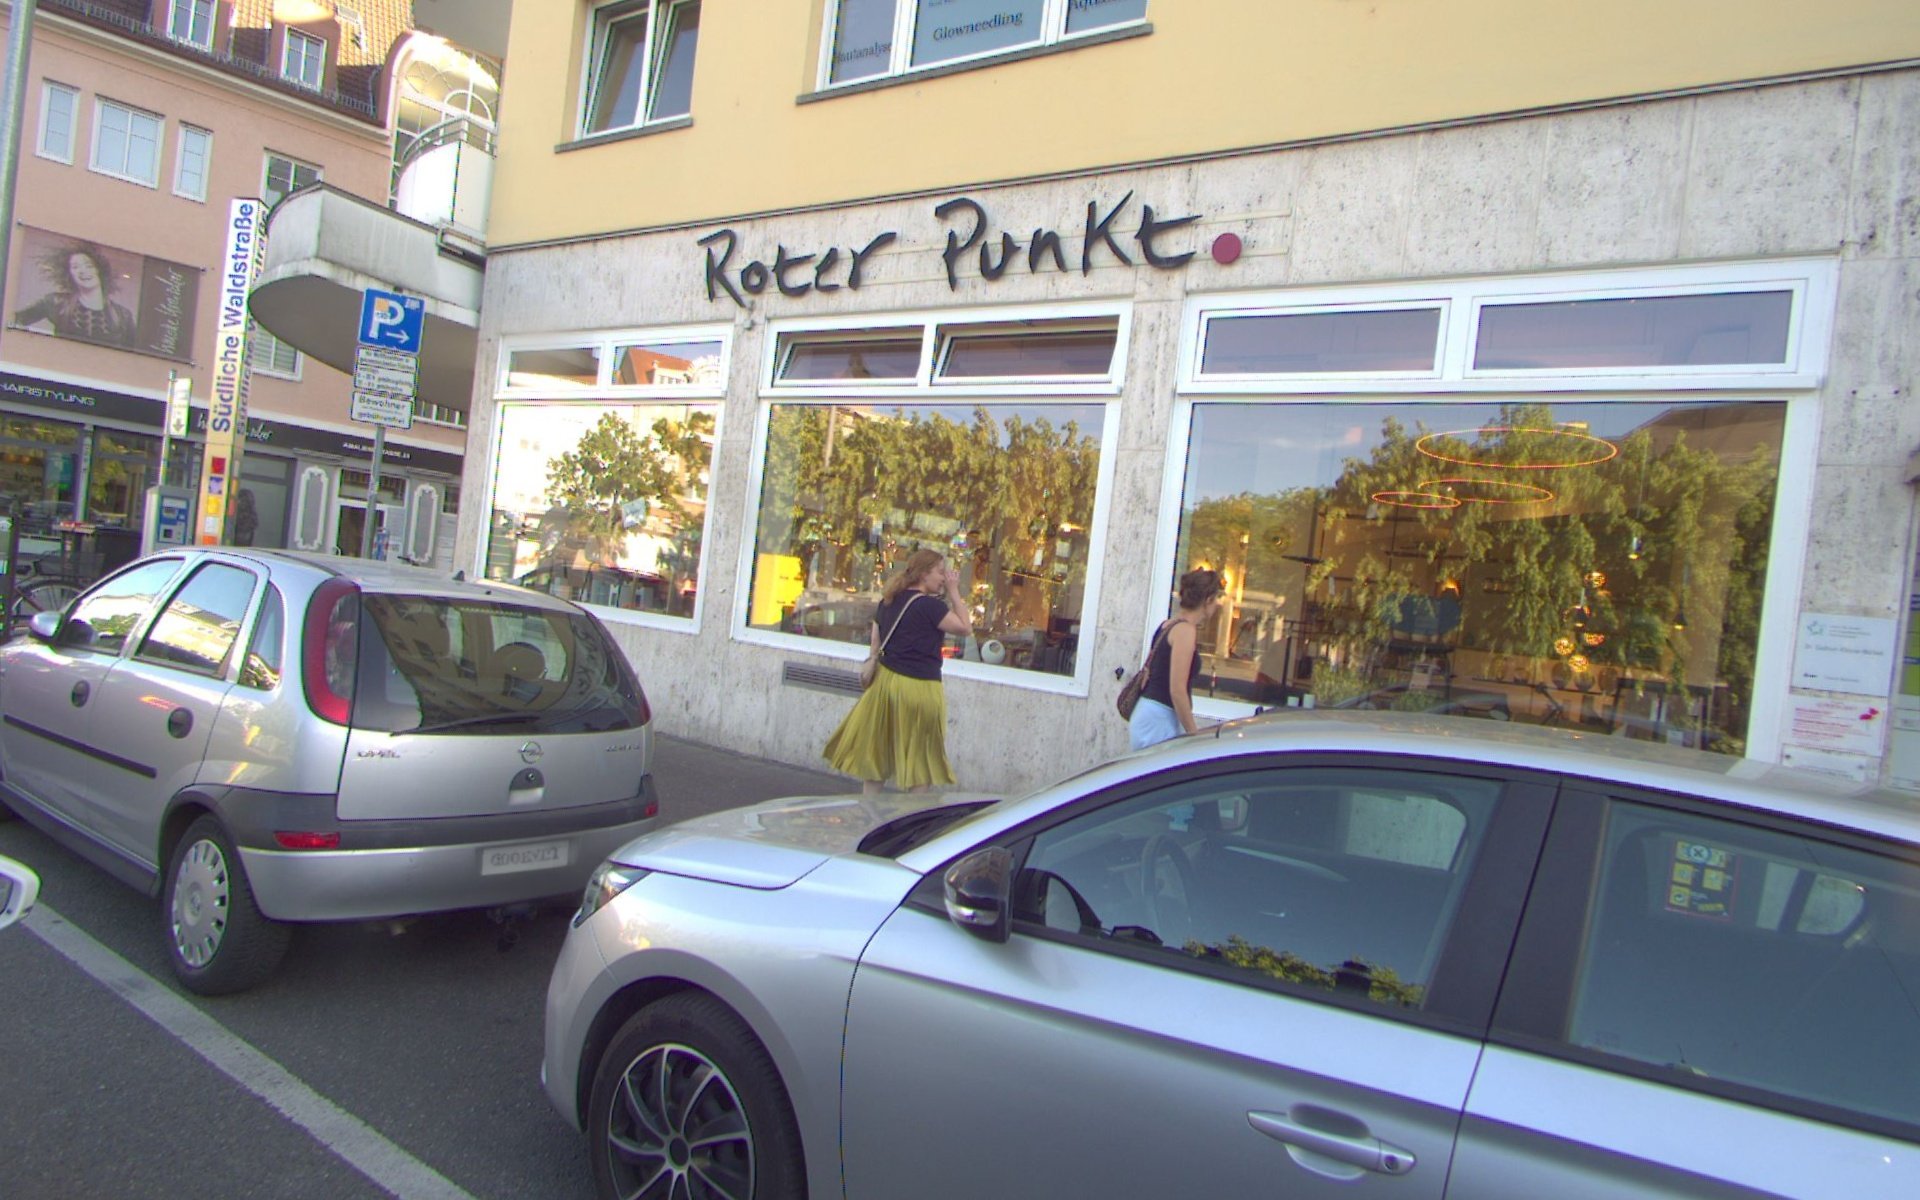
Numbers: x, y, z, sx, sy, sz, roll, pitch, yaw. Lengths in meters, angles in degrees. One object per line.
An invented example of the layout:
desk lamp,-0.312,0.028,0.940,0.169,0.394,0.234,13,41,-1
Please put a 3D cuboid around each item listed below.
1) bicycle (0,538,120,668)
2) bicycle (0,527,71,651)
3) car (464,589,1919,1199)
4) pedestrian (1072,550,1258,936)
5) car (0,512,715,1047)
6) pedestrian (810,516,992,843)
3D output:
bicycle,-8.112,0.004,8.199,0.348,1.051,1.871,6,1,38
bicycle,-9.093,-0.144,8.811,0.408,1.101,1.872,6,1,35
car,0.767,0.928,2.277,3.598,1.444,1.550,6,-1,30
pedestrian,1.028,0.661,4.943,0.635,1.685,0.659,7,0,18
car,-2.929,0.484,4.436,3.420,1.407,1.548,6,-1,33
pedestrian,-0.349,0.452,6.071,0.730,1.807,0.567,7,2,29
